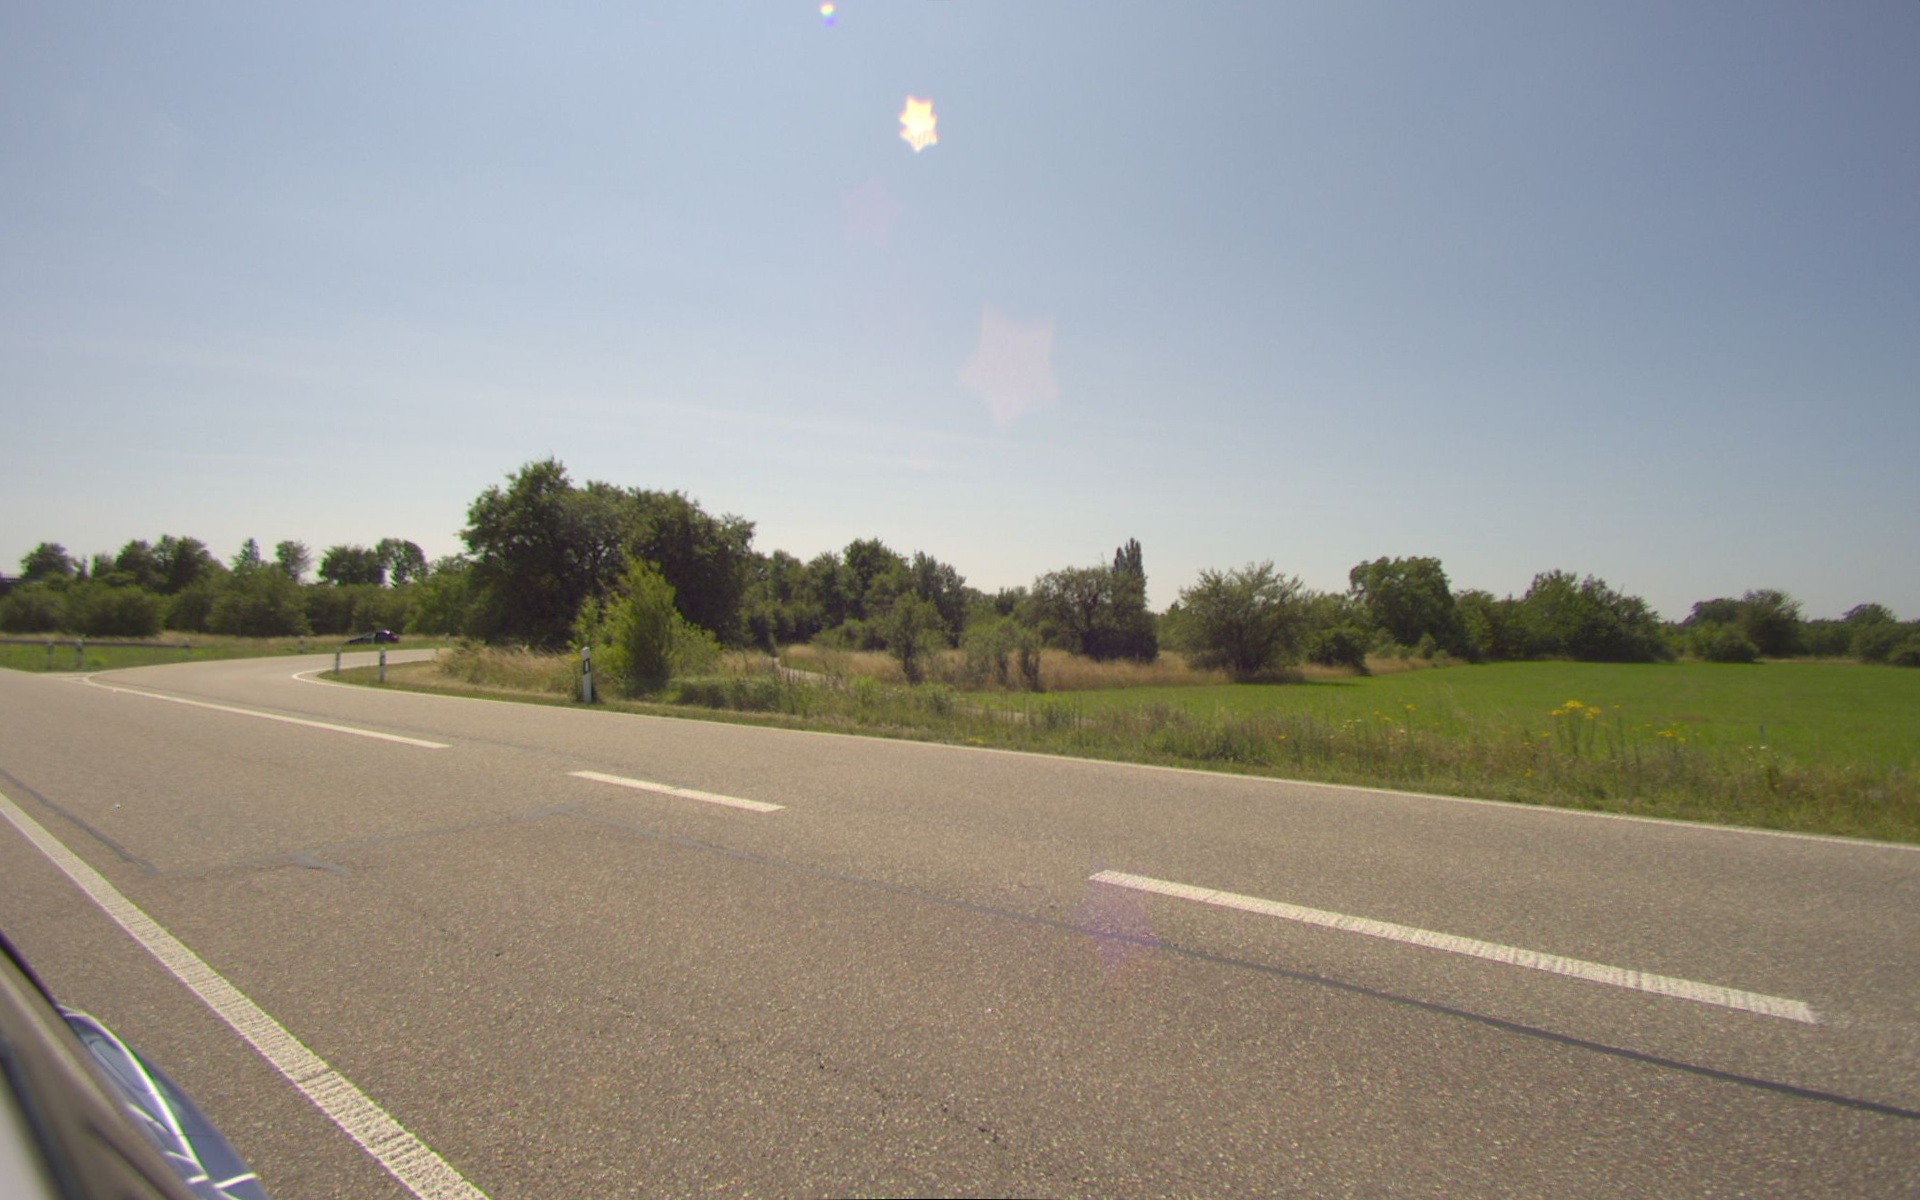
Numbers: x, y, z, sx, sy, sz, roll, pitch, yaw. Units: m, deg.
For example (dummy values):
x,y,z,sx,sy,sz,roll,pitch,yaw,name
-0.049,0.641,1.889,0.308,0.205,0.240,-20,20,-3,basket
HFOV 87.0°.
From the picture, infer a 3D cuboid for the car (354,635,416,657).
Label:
x,y,z,sx,sy,sz,roll,pitch,yaw,name
-44.547,3.559,78.431,4.078,1.569,1.894,3,-3,-29,car
